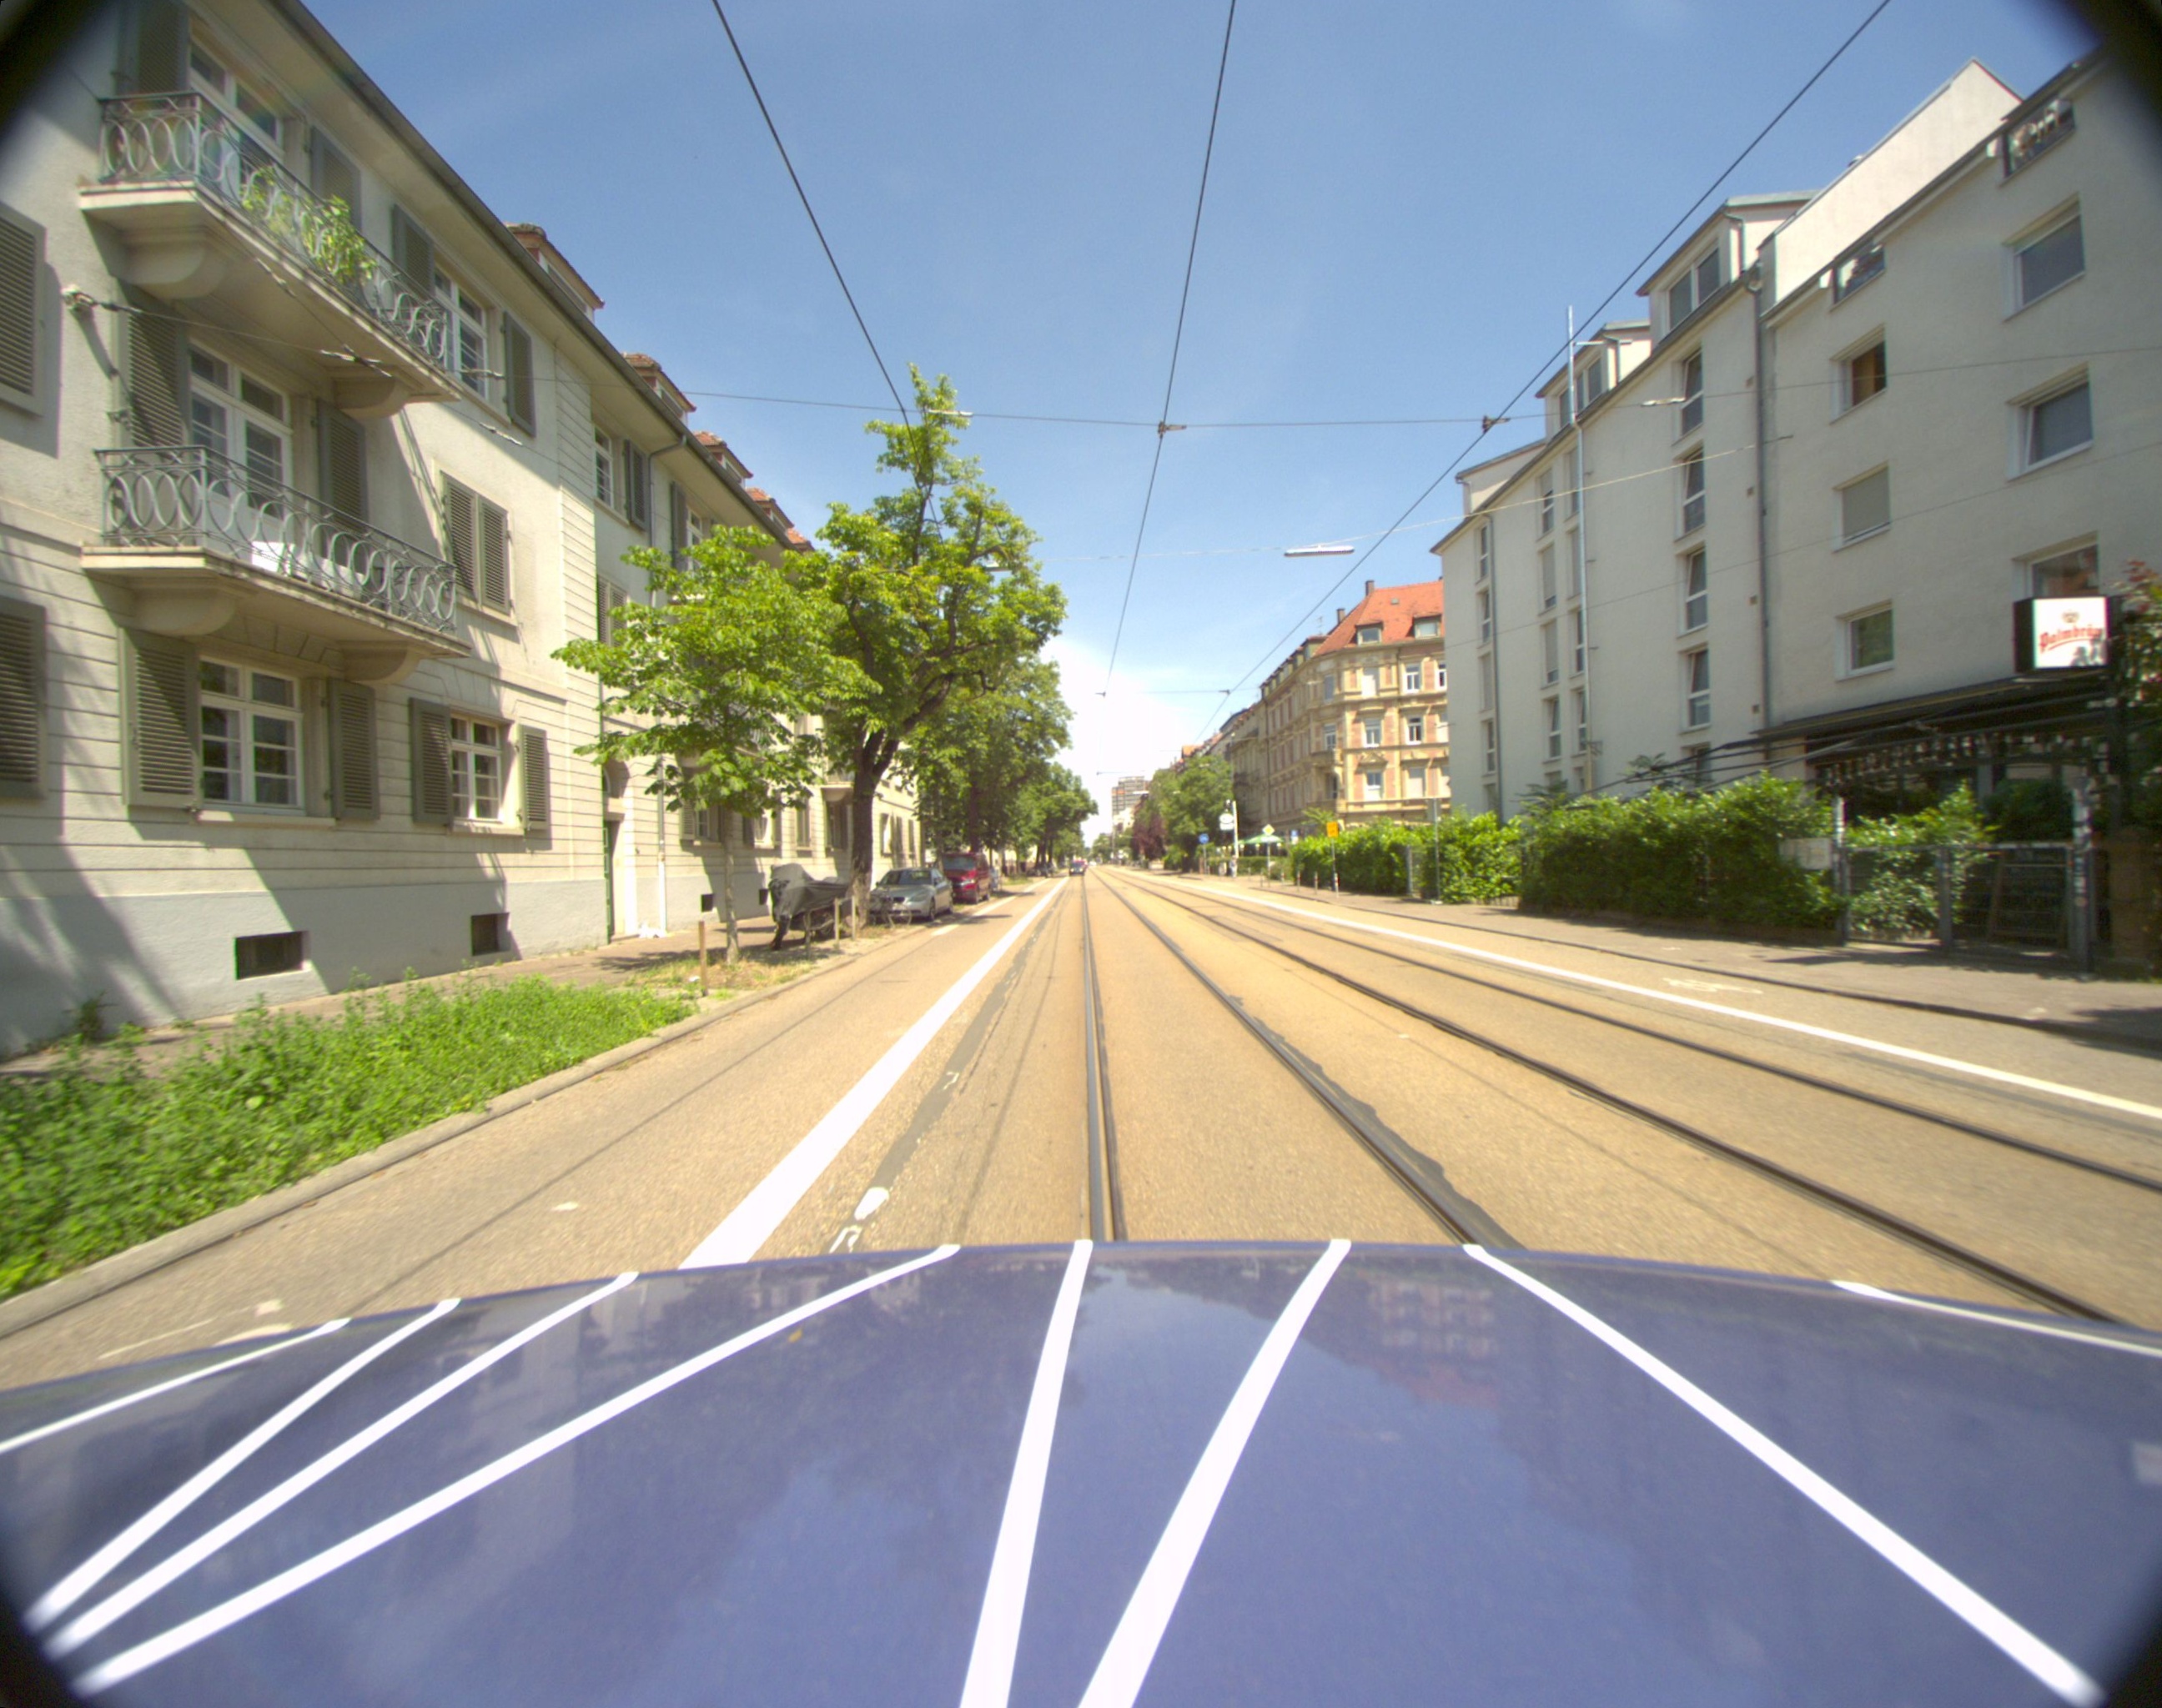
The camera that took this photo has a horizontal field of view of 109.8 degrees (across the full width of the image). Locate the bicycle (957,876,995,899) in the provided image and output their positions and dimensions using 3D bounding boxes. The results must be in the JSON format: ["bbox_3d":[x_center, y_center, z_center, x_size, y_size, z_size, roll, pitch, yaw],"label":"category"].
[{"bbox_3d":[-4.716,1.512,34.222,1.701,1.015,0.364,-1,0,-6],"label":"bicycle"}]

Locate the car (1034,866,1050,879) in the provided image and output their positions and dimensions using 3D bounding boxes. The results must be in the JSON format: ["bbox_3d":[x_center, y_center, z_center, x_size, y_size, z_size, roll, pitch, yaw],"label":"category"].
[{"bbox_3d":[-4.583,2.190,89.100,1.596,1.443,3.632,0,-1,0],"label":"car"}]

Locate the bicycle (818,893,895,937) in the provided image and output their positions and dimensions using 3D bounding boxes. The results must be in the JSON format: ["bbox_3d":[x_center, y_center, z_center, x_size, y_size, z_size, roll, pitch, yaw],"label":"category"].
[{"bbox_3d":[-5.203,1.407,17.628,1.662,1.009,0.372,0,-3,1],"label":"bicycle"}]

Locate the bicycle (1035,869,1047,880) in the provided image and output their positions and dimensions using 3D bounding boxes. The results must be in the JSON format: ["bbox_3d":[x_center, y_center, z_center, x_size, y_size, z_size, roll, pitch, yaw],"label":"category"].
[{"bbox_3d":[-4.207,2.142,79.174,1.169,1.057,0.280,-2,1,3],"label":"bicycle"}]

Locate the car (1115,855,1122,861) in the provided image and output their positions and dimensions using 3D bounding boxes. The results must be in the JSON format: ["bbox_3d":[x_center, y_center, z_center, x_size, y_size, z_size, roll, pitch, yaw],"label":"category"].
[{"bbox_3d":[9.377,1.059,188.196,1.493,1.371,3.630,-2,0,0],"label":"car"}]

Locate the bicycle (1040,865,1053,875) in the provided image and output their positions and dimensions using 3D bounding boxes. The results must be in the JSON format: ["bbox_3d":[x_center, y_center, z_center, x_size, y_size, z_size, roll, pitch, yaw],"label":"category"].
[{"bbox_3d":[-4.252,2.000,93.508,1.623,1.193,0.305,-2,1,1],"label":"bicycle"}]

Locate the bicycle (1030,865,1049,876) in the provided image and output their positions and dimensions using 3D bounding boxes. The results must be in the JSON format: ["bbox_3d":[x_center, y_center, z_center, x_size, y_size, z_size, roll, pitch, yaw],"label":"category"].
[{"bbox_3d":[-4.575,1.866,84.037,2.037,1.193,0.446,-1,0,10],"label":"bicycle"}]

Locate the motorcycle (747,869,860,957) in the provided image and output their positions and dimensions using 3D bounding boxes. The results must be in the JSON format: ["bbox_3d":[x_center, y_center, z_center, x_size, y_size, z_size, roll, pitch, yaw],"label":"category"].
[{"bbox_3d":[-5.190,1.045,14.453,0.746,1.497,2.561,-1,-1,12],"label":"motorcycle"}]

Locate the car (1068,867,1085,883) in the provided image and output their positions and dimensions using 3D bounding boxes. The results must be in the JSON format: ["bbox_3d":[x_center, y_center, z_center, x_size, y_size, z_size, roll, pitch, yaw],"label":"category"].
[{"bbox_3d":[-0.482,2.356,85.825,1.893,1.561,4.037,-2,0,0],"label":"car"}]

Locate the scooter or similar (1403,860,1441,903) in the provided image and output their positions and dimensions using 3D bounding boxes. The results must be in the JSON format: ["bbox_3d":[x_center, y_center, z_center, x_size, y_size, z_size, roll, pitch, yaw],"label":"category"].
[{"bbox_3d":[11.659,0.935,26.014,1.011,1.442,0.597,-2,1,0],"label":"scooter or similar"}]

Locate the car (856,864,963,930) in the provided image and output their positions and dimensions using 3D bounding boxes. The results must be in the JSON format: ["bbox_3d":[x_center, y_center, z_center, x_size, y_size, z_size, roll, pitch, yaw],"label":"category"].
[{"bbox_3d":[-4.752,1.125,21.799,1.864,1.568,4.877,-2,0,1],"label":"car"}]

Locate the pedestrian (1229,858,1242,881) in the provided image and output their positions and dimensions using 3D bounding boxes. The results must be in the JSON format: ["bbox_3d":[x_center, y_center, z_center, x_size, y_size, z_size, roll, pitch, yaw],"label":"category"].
[{"bbox_3d":[10.934,1.101,53.732,0.742,1.632,0.940,-1,0,3],"label":"pedestrian"}]

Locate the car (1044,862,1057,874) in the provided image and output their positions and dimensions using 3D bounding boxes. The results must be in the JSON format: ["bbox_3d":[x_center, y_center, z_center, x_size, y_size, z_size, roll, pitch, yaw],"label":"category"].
[{"bbox_3d":[-4.301,1.977,107.274,1.539,1.535,4.000,-2,0,0],"label":"car"}]

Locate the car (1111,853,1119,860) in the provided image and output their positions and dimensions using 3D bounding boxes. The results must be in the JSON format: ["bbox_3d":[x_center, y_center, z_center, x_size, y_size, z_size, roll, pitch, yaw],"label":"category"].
[{"bbox_3d":[9.183,0.633,207.240,1.998,1.716,3.871,-2,0,0],"label":"car"}]

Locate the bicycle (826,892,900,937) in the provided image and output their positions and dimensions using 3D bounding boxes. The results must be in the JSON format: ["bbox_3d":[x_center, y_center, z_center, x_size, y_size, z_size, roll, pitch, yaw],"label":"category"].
[{"bbox_3d":[-5.174,1.439,18.069,1.662,1.009,0.372,-1,-4,1],"label":"bicycle"}]

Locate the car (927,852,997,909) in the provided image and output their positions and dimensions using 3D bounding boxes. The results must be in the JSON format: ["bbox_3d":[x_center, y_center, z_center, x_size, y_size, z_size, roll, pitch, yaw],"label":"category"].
[{"bbox_3d":[-4.578,0.965,29.949,1.864,2.002,4.976,-2,0,1],"label":"car"}]

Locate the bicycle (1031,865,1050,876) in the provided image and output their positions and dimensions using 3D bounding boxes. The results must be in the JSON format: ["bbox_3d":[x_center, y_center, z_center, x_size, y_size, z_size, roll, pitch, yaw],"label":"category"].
[{"bbox_3d":[-4.482,1.869,84.570,2.037,1.193,0.445,-2,1,10],"label":"bicycle"}]

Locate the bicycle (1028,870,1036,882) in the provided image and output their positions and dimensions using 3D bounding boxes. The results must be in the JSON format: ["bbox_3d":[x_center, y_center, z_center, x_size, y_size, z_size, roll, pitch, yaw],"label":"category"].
[{"bbox_3d":[-5.110,2.327,79.350,0.284,1.193,1.625,-2,0,-20],"label":"bicycle"}]
